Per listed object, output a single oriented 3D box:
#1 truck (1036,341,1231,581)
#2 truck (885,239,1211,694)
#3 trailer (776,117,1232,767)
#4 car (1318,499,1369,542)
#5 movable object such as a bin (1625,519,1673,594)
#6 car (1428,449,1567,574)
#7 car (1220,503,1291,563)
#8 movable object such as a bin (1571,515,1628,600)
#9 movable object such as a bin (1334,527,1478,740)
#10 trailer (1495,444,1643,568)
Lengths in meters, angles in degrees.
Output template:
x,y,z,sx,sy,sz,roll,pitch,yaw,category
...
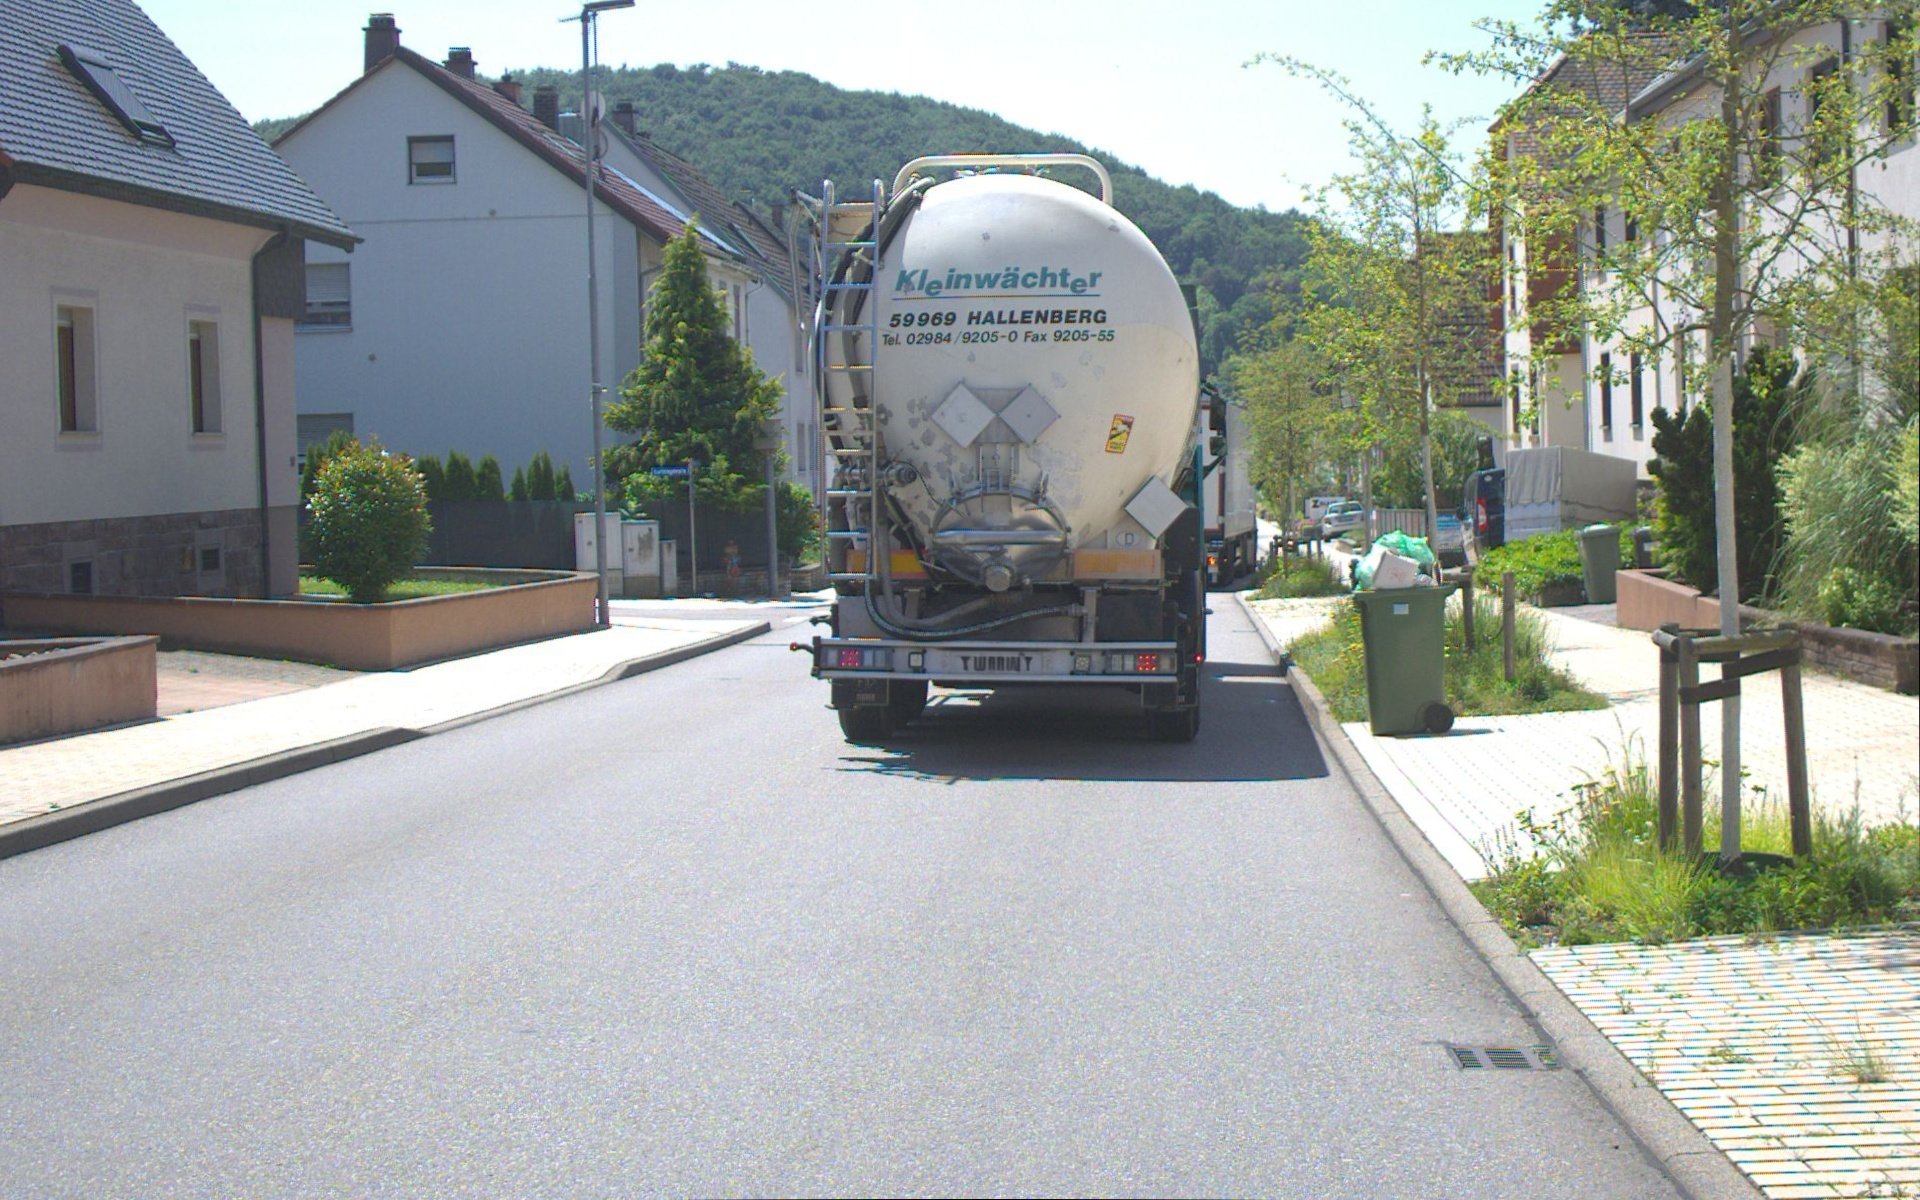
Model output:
x,y,z,sx,sy,sz,roll,pitch,yaw,category
3.787,-3.054,77.001,3.910,4.878,9.796,-2,1,2,truck
0.896,-1.256,32.849,2.808,3.923,6.099,0,2,3,truck
0.549,-1.131,26.356,2.796,3.987,10.323,0,2,3,trailer
14.494,-3.015,130.086,1.791,1.536,4.519,-2,1,6,car
9.550,-0.603,47.684,0.558,0.982,0.802,-5,0,11,movable object such as a bin
9.621,-1.588,61.816,1.852,1.964,4.773,-6,1,4,car
9.165,-2.089,106.873,1.993,1.815,4.000,-1,1,2,car
8.850,-0.590,47.611,0.684,1.111,0.812,-4,0,10,movable object such as a bin
3.094,0.219,23.917,0.792,1.390,0.925,-5,1,2,movable object such as a bin
10.077,-1.550,56.821,2.267,2.007,1.324,-1,2,-43,trailer
